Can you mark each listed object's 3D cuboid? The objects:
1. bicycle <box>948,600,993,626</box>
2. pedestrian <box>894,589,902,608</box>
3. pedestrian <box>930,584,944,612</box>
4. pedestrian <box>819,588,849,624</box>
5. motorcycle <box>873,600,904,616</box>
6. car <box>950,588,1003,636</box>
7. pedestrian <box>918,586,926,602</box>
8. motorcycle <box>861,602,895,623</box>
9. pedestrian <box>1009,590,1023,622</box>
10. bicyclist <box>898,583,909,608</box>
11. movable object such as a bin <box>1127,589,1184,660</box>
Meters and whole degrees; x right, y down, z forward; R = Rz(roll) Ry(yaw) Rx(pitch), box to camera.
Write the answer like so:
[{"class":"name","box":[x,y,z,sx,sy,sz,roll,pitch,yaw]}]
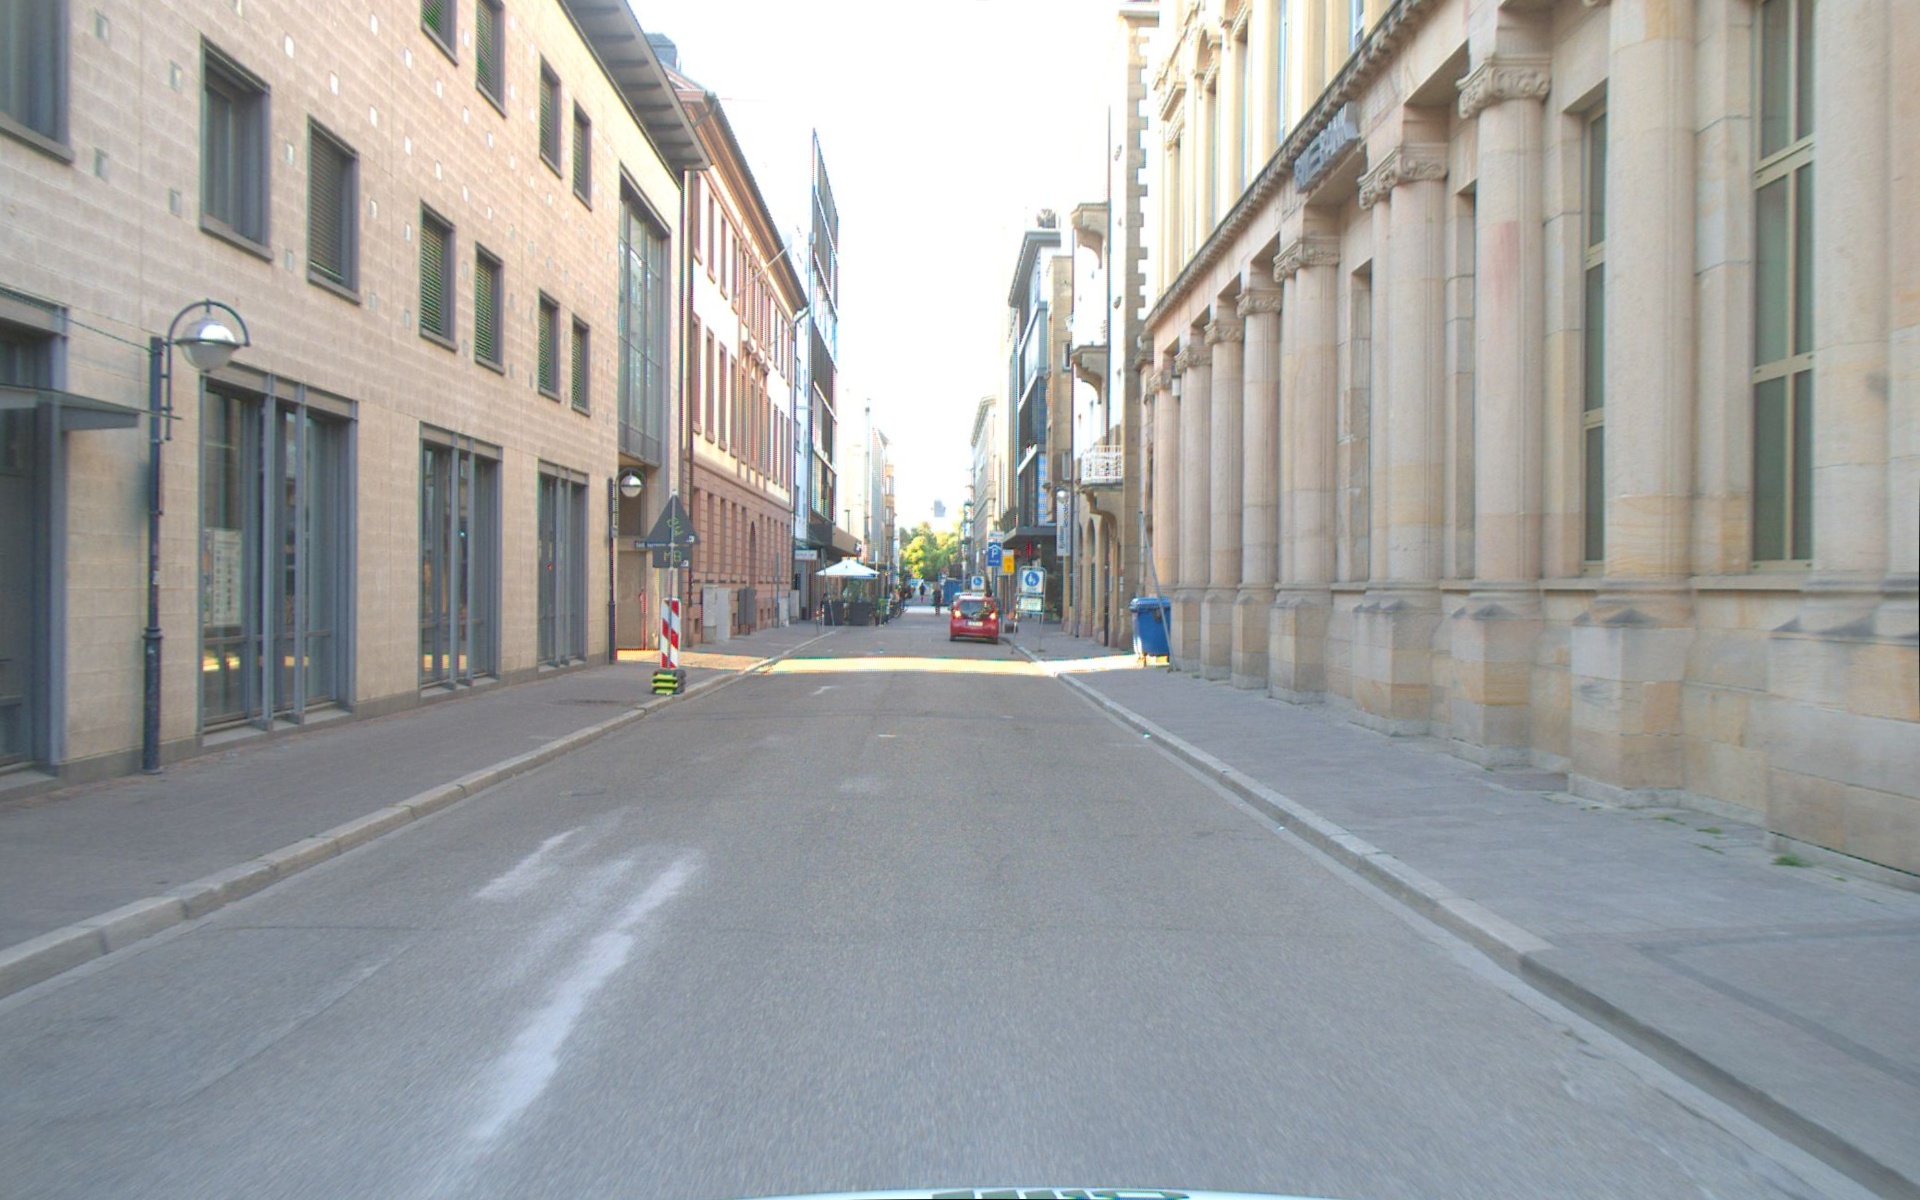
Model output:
[{"class":"bicycle","box":[0.467,0.607,76.385,2.012,1.154,0.648,1,0,-5]},{"class":"pedestrian","box":[-5.413,-0.171,145.266,0.664,1.651,0.626,1,0,1]},{"class":"pedestrian","box":[-1.483,-0.122,106.504,0.848,1.743,0.852,1,0,-1]},{"class":"pedestrian","box":[-5.355,0.254,70.307,1.265,1.513,0.661,1,0,-3]},{"class":"motorcycle","box":[-4.092,0.452,94.323,1.766,0.891,0.560,1,0,-5]},{"class":"car","box":[0.513,0.386,54.535,1.616,1.452,3.535,3,0,0]},{"class":"pedestrian","box":[-4.055,-0.640,175.225,0.788,1.702,0.888,0,0,1]},{"class":"motorcycle","box":[-4.301,0.666,86.424,1.766,1.059,0.493,1,0,-5]},{"class":"pedestrian","box":[2.618,0.274,77.084,0.643,1.513,0.493,1,0,1]},{"class":"bicyclist","box":[-3.820,-0.322,111.526,0.625,1.669,0.770,0,0,-10]},{"class":"movable object such as a bin","box":[3.977,0.485,33.694,0.970,1.416,1.240,0,0,-2]}]
